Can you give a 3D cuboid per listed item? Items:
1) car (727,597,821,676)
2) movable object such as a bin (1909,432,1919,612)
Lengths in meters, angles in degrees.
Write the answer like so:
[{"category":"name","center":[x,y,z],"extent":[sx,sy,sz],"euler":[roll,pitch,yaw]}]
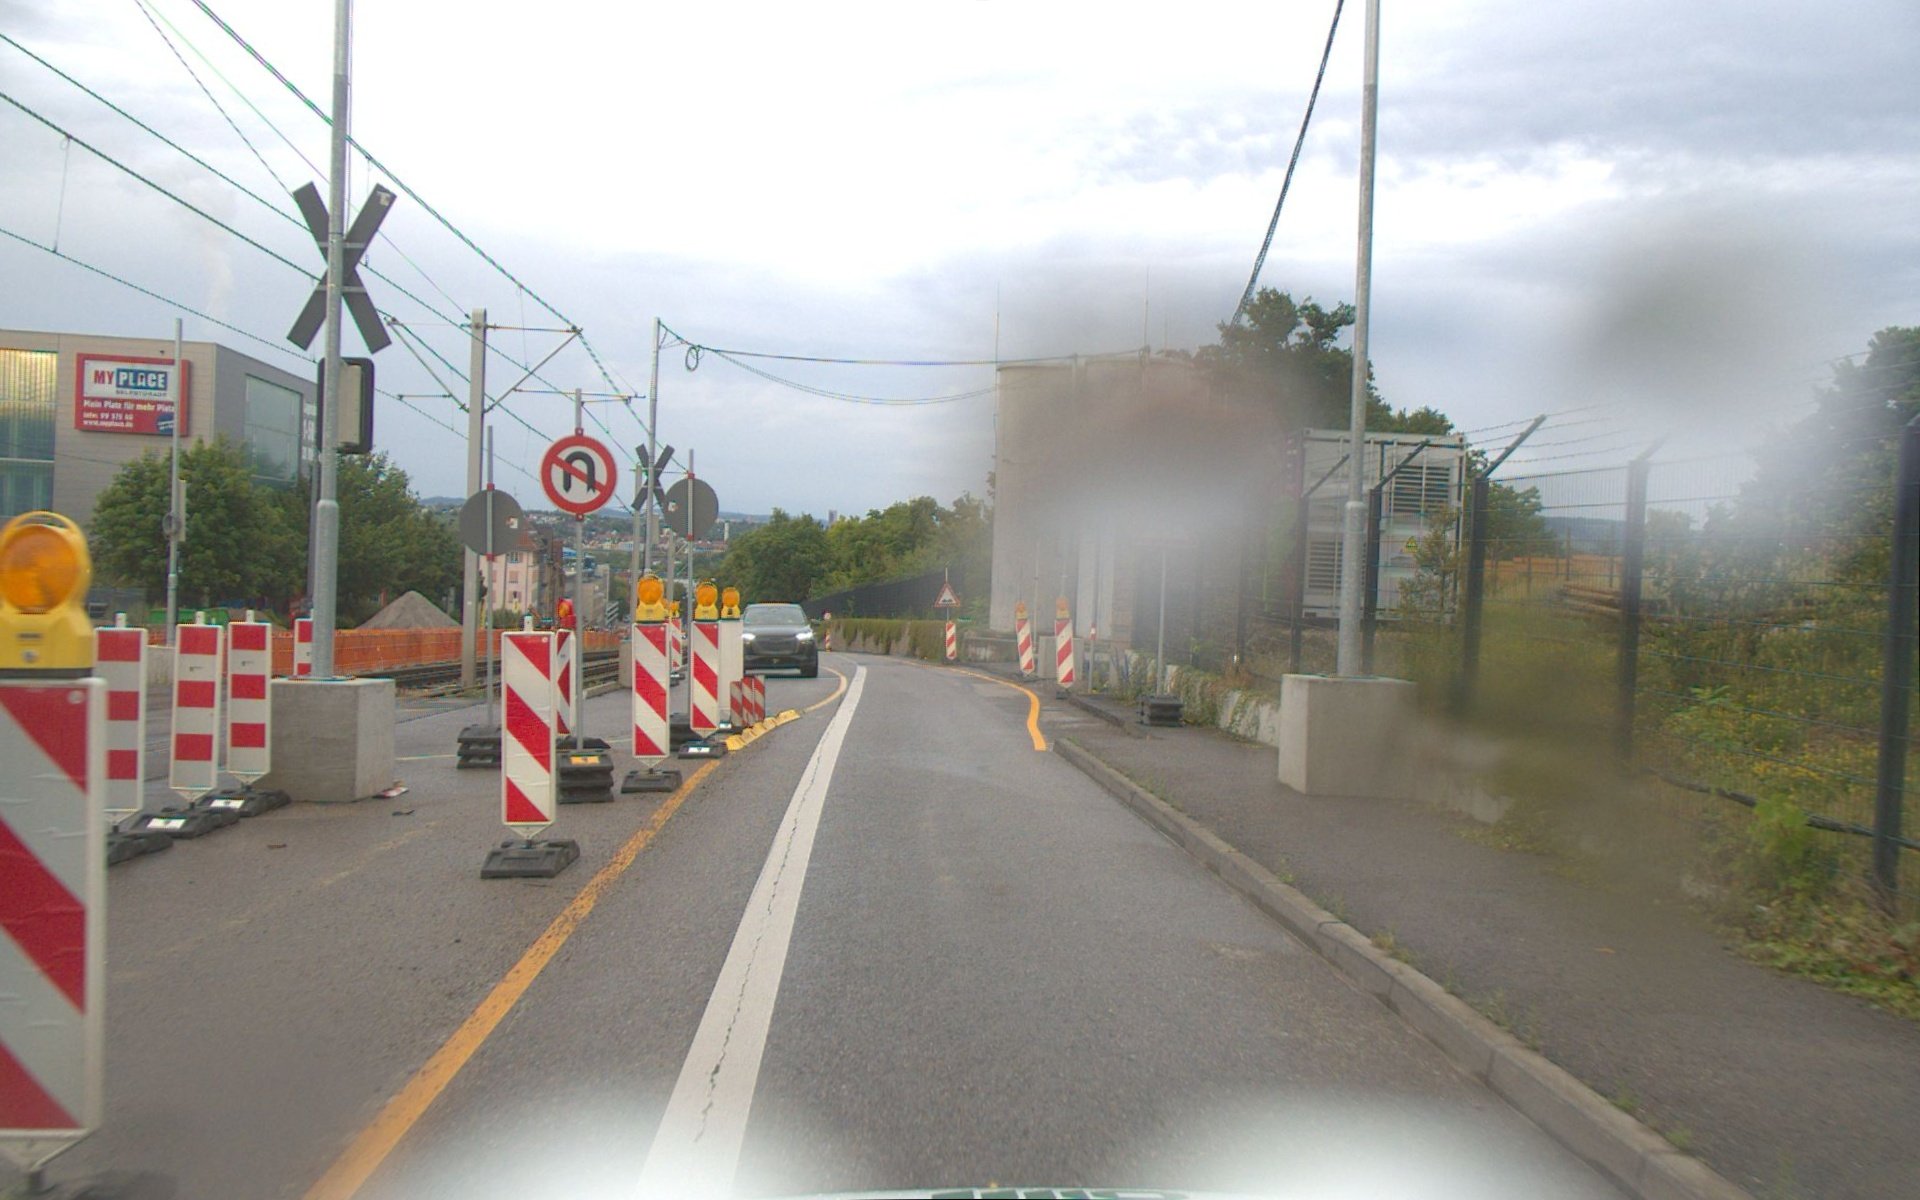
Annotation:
[{"category":"car","center":[-4.386,0.820,38.540],"extent":[1.957,1.707,4.479],"euler":[1,-1,-9]},{"category":"movable object such as a bin","center":[37.906,-2.572,54.491],"extent":[10.992,6.100,3.494],"euler":[1,-1,8]}]
